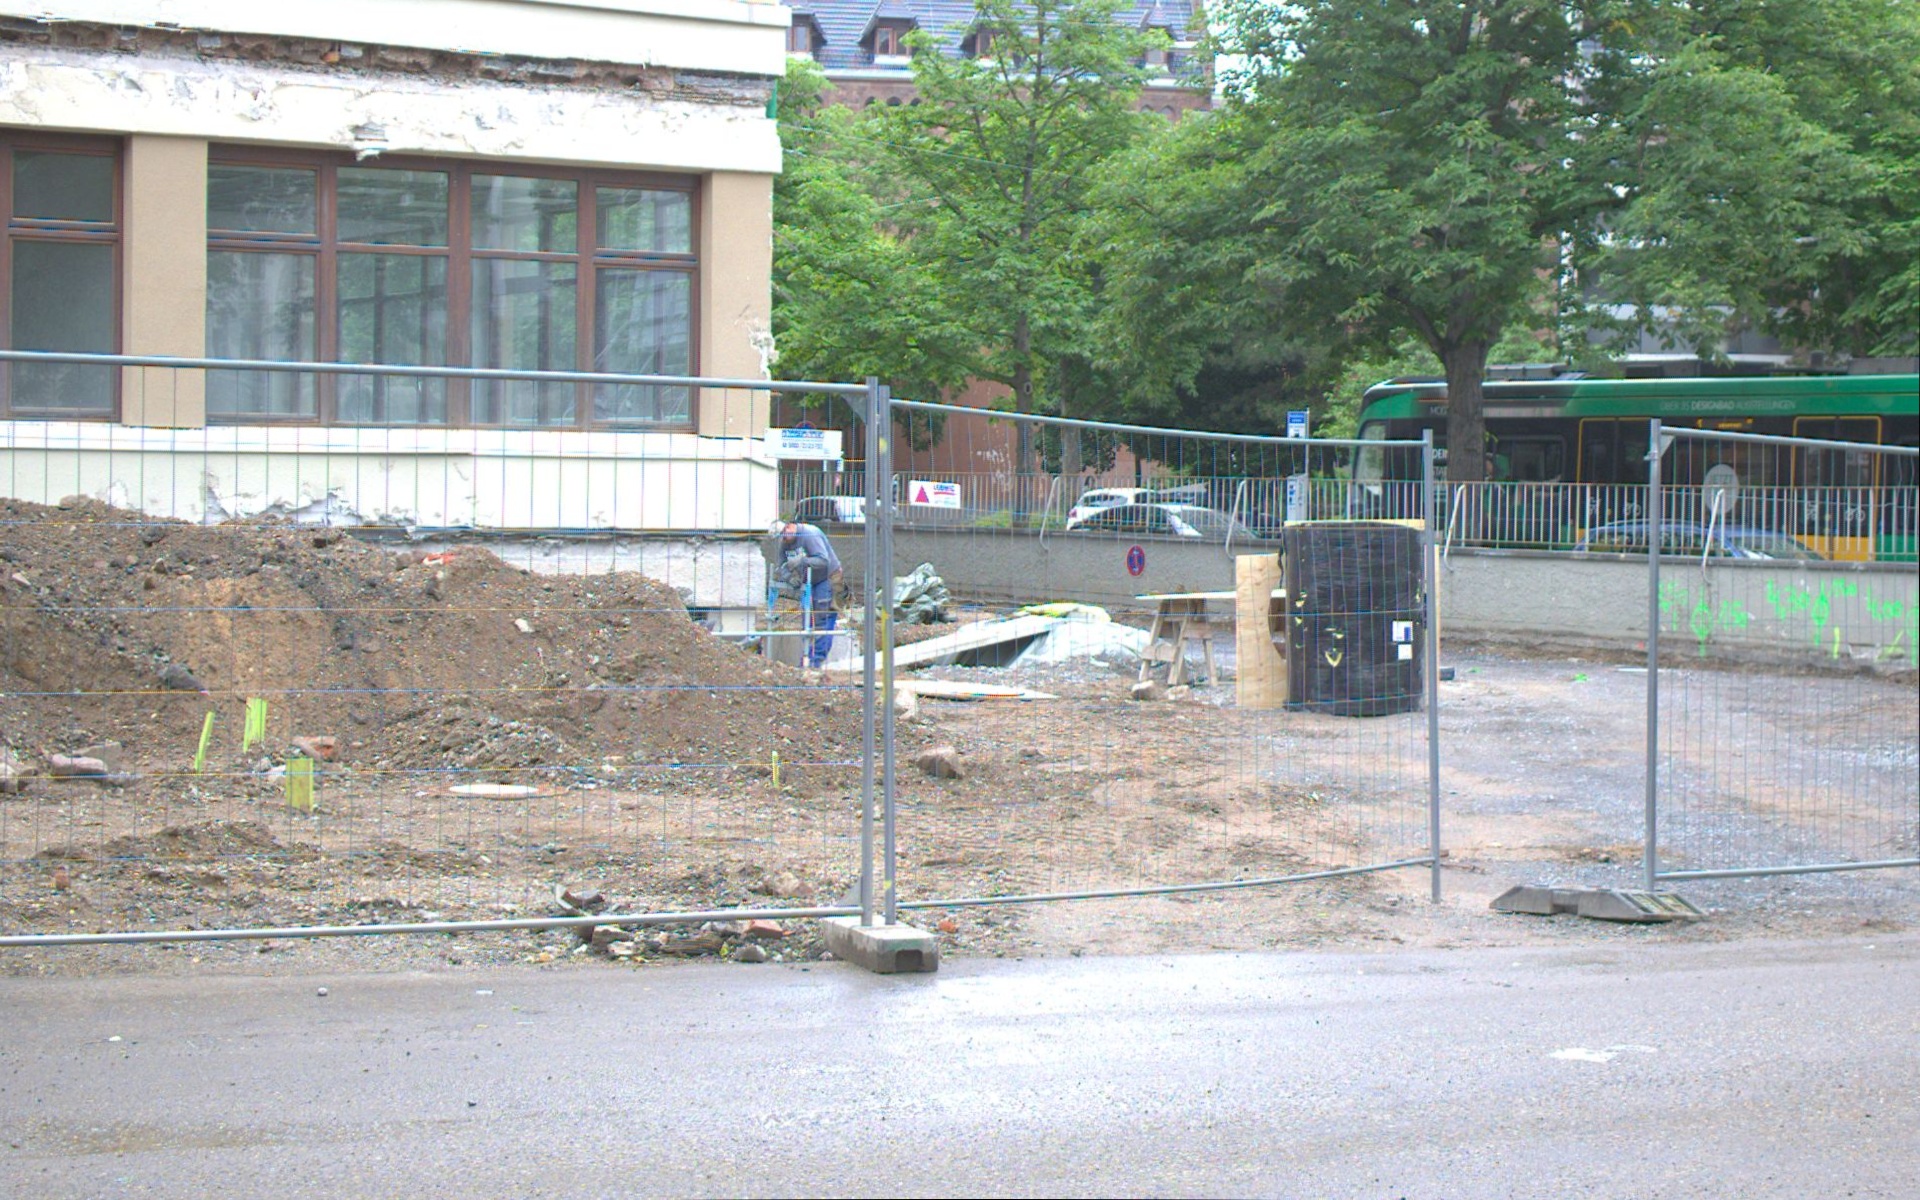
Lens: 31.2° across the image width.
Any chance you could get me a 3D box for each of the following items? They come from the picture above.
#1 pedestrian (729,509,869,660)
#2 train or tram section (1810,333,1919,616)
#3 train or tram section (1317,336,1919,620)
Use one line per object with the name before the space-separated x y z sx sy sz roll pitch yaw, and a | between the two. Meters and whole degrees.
pedestrian | -1.562 -0.158 33.329 0.980 1.433 0.930 0 1 -37
train or tram section | 15.701 -1.469 40.743 2.659 3.601 12.458 0 2 -33
train or tram section | 10.106 -1.738 49.380 2.659 3.601 12.458 0 2 -33
